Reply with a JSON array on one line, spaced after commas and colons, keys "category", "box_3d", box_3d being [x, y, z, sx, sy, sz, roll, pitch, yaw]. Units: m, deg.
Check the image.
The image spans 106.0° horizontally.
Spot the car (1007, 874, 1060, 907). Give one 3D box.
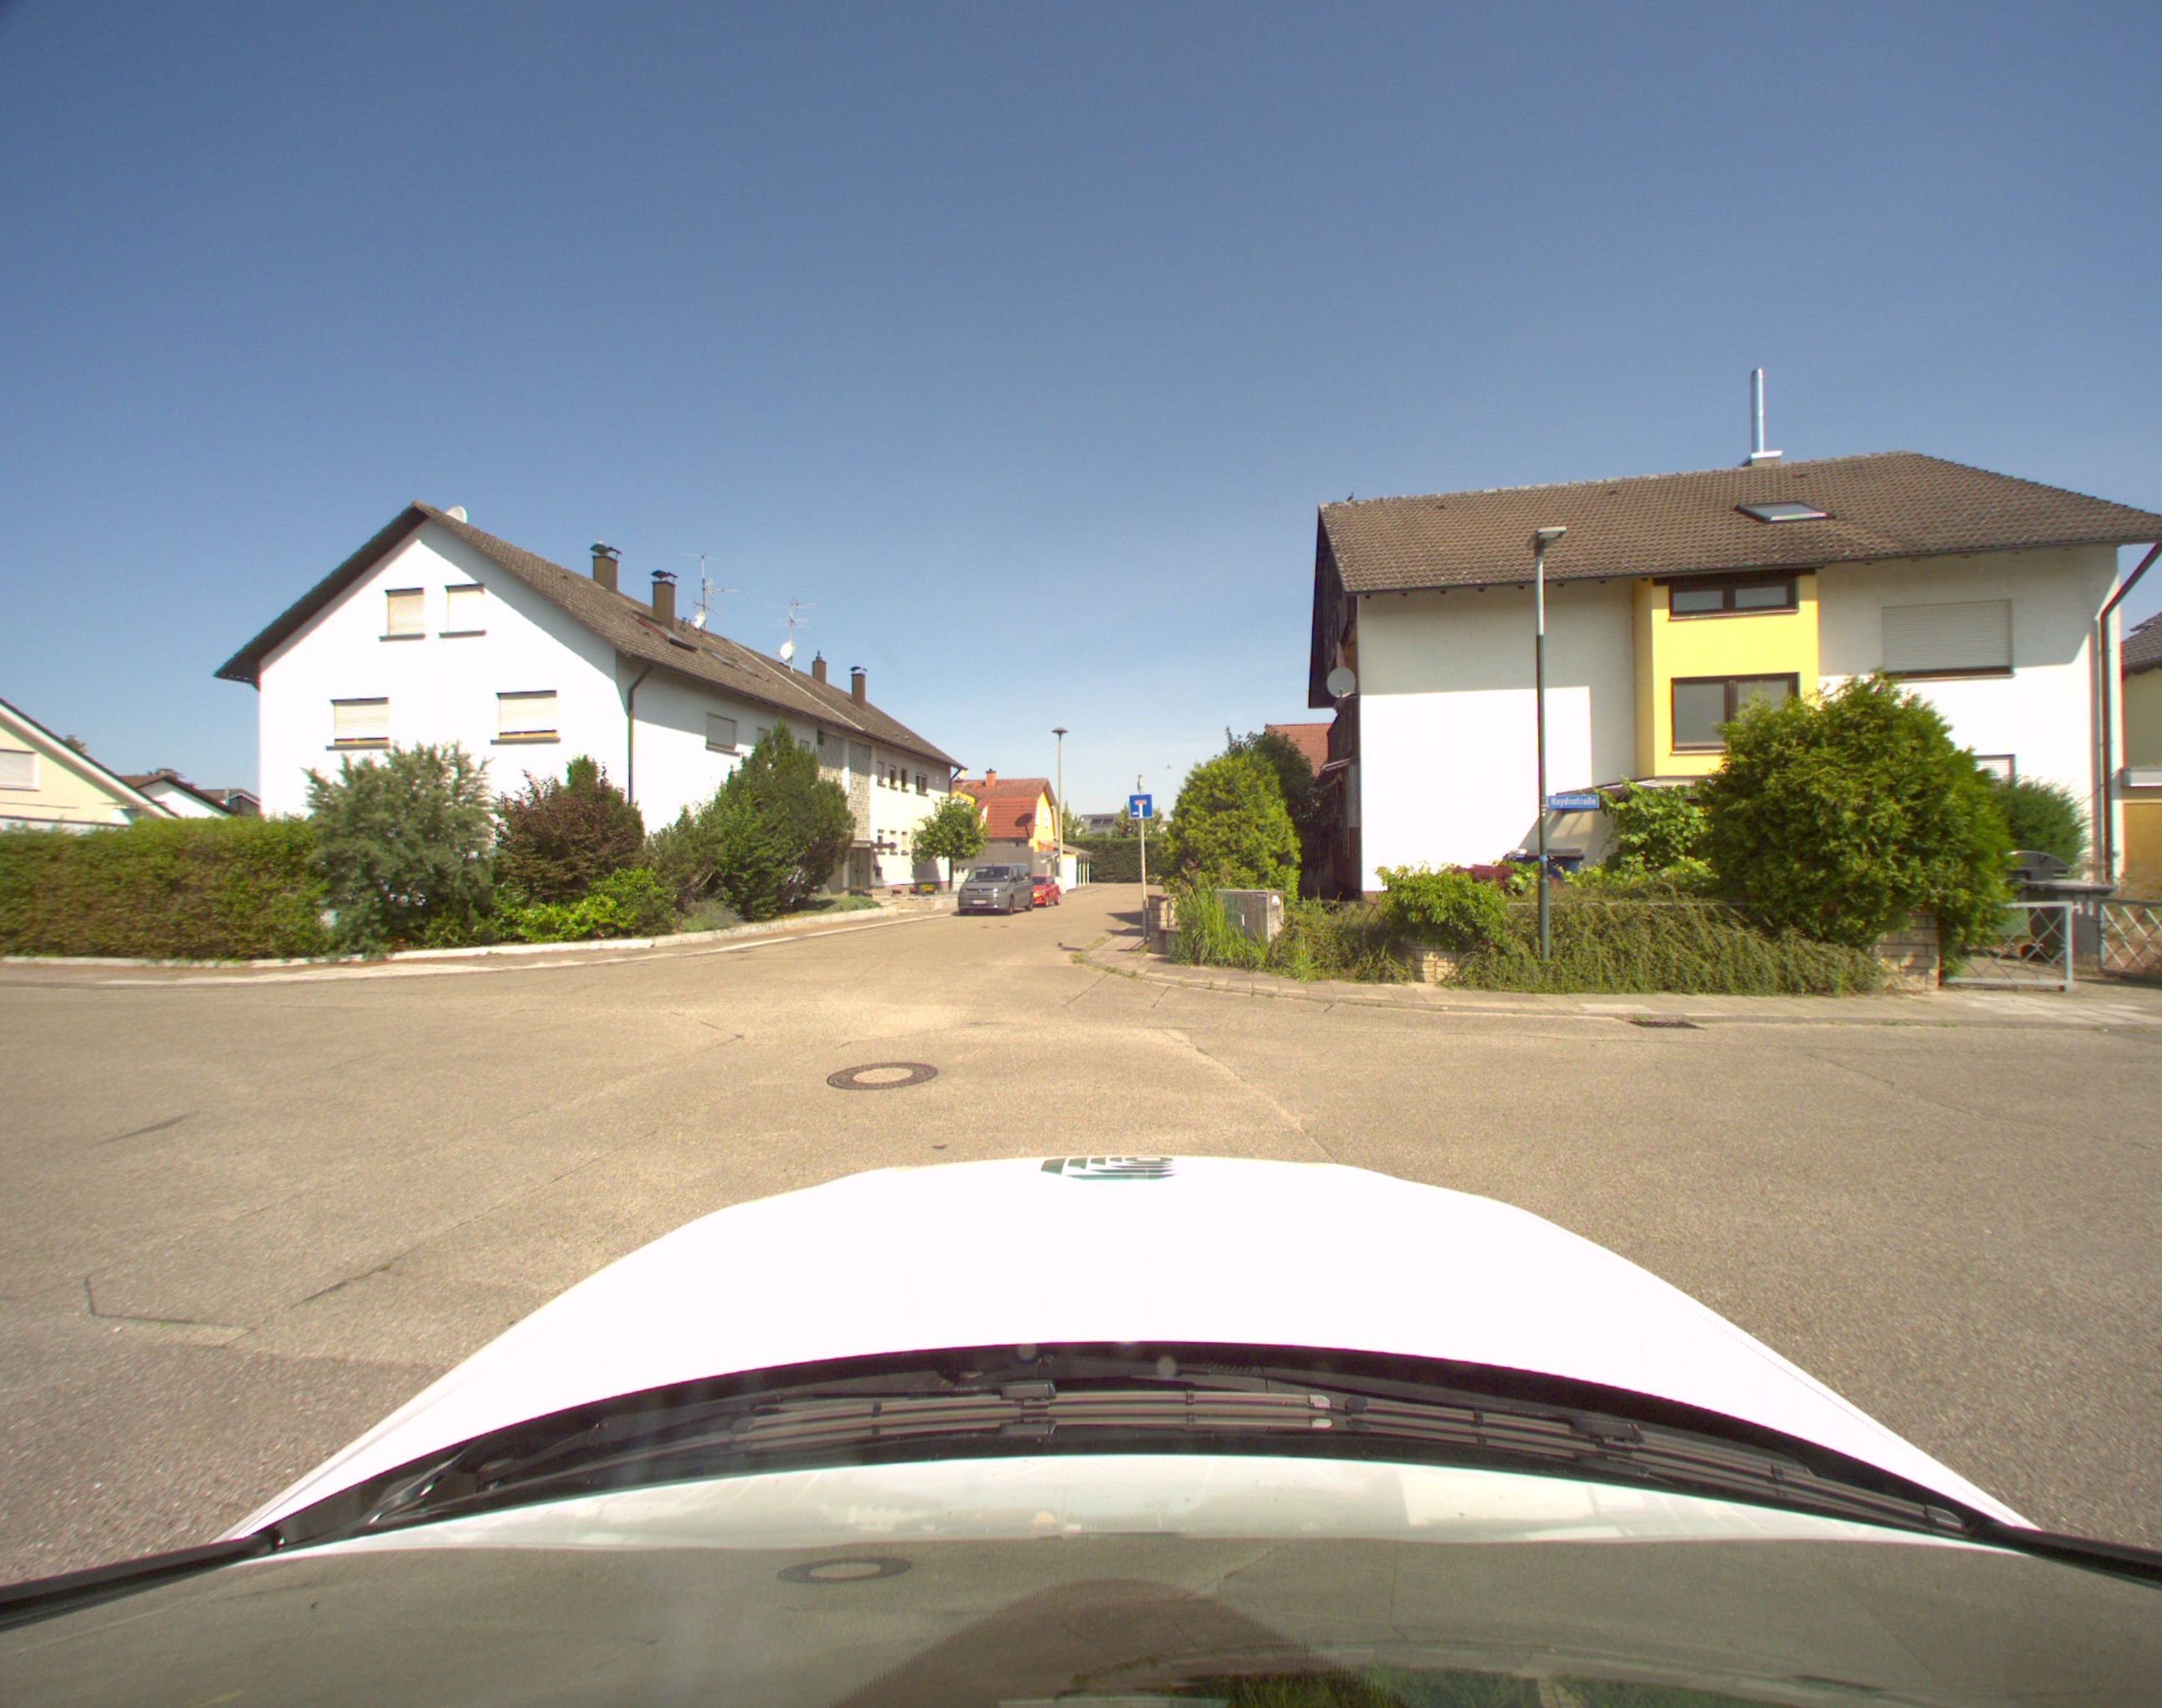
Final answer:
[{"category": "car", "box_3d": [-2.123, 1.652, 37.219, 1.642, 1.365, 3.788, -1, -1, 9]}]

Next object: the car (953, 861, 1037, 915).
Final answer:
[{"category": "car", "box_3d": [-3.153, 1.212, 30.797, 1.888, 1.870, 4.385, -1, -1, 12]}]
